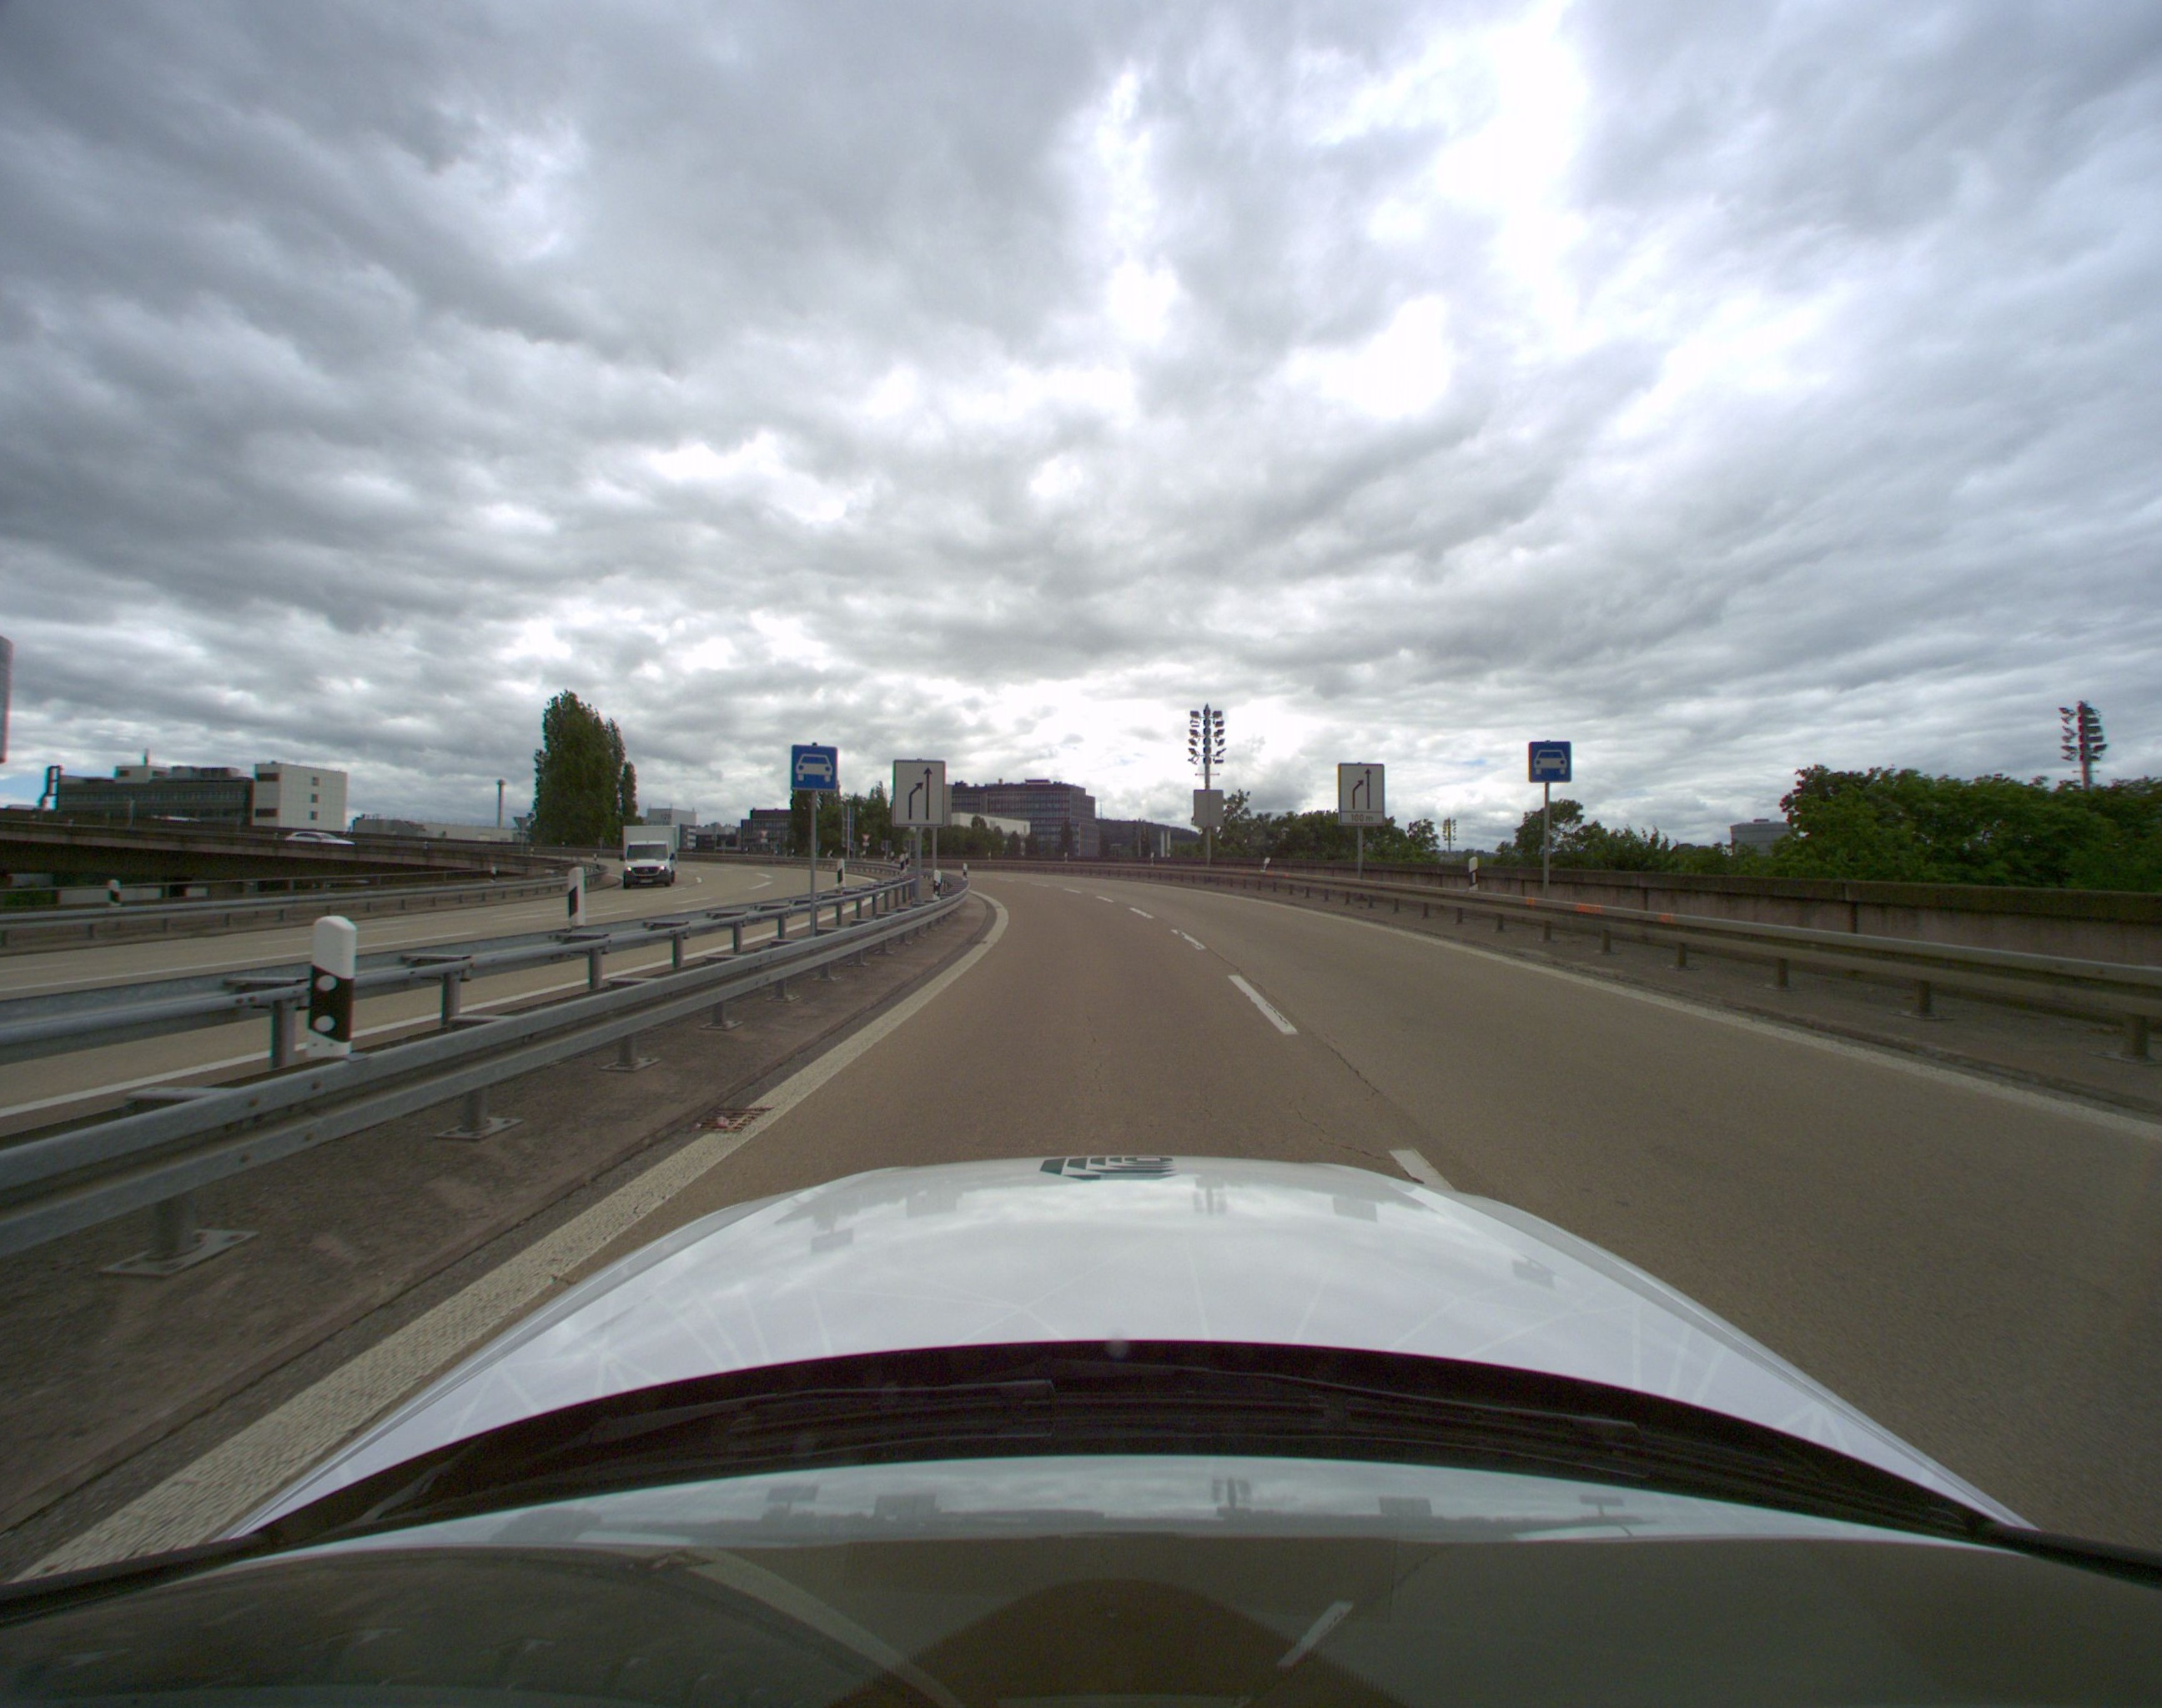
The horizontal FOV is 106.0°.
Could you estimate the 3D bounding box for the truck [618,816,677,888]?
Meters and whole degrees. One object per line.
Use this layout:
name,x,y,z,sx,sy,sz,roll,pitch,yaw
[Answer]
truck,-21.600,-0.123,40.487,2.359,3.263,6.929,-1,0,-29
